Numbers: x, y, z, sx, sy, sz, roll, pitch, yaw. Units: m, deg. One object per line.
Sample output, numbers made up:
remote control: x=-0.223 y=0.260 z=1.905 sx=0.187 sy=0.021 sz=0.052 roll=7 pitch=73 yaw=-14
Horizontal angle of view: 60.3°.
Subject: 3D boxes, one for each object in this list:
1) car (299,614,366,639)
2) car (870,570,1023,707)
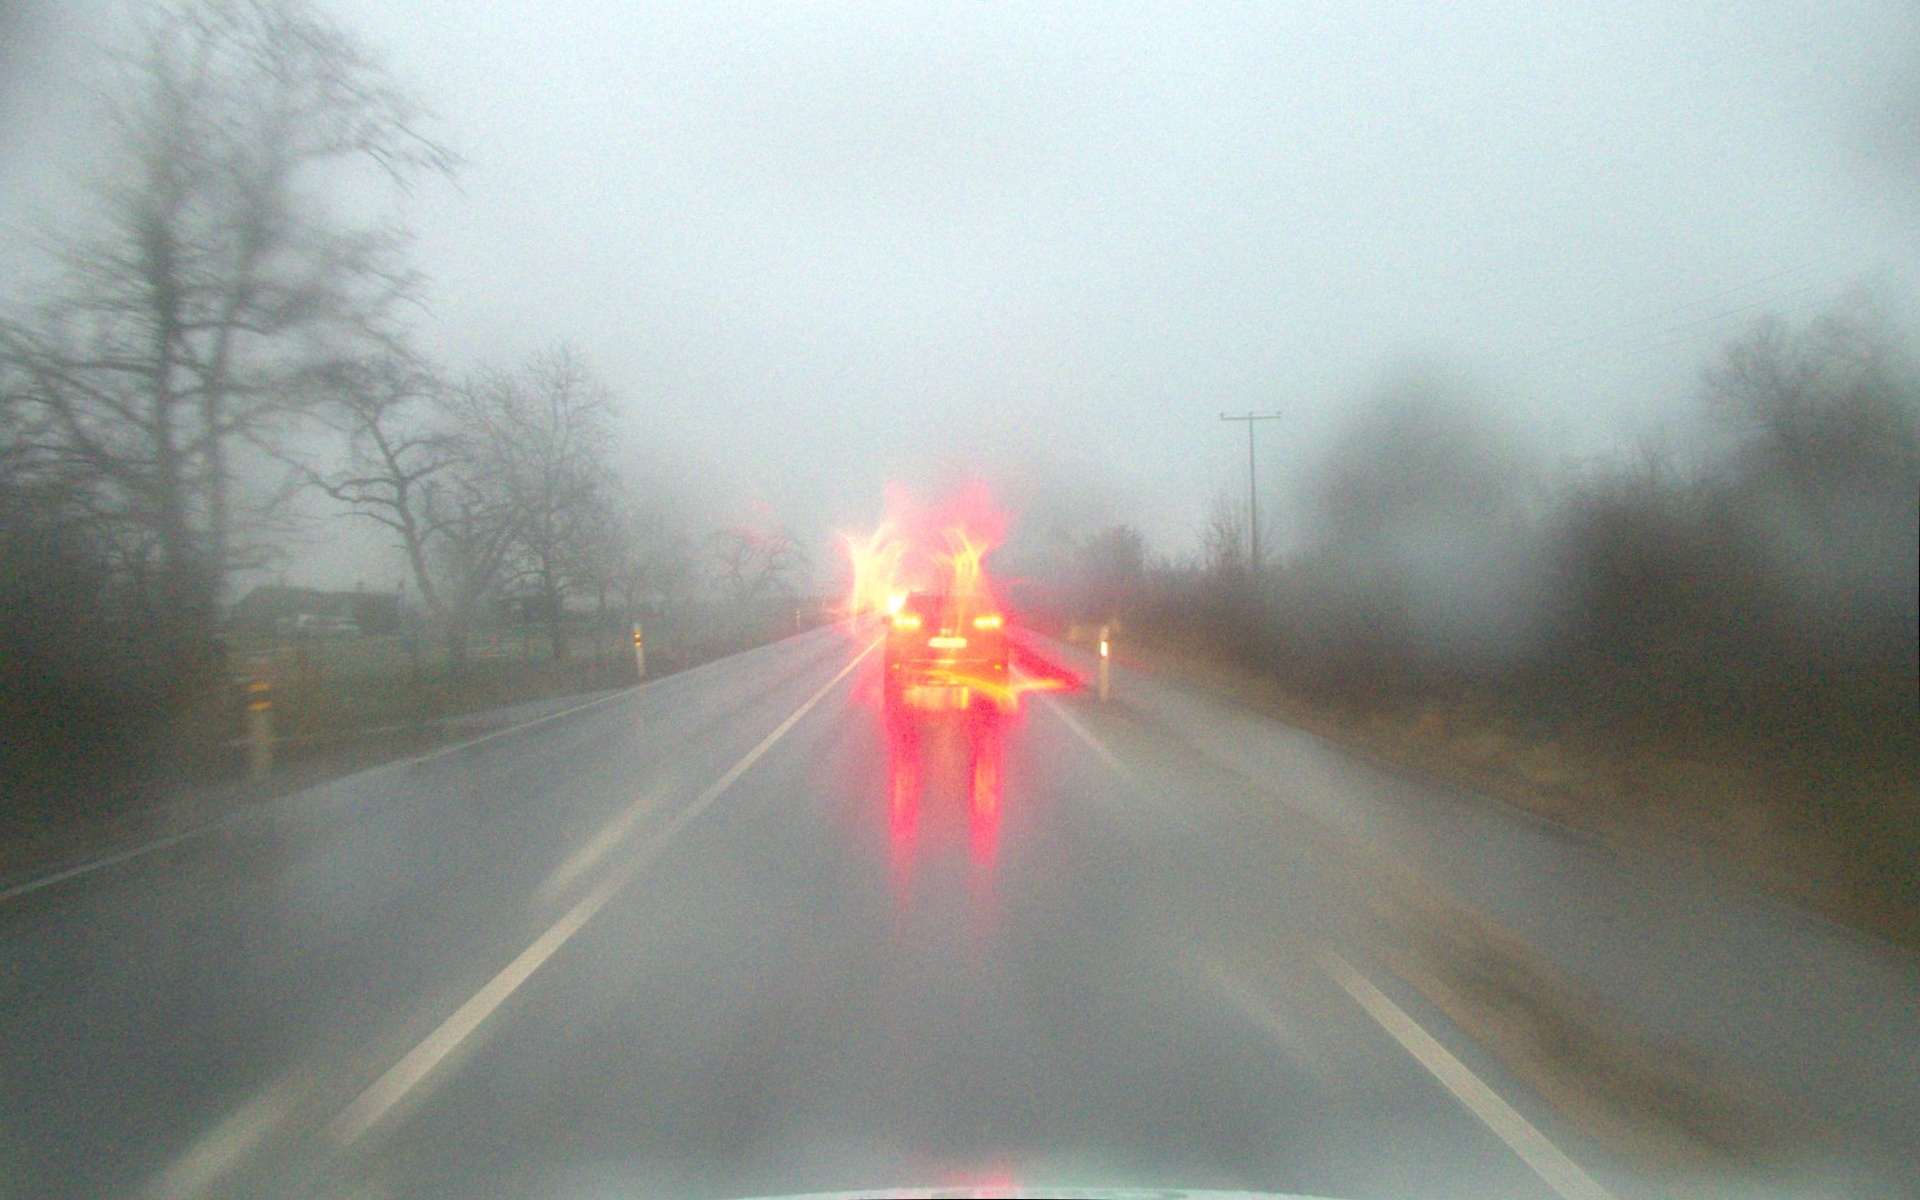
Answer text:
car: x=-35.903 y=1.535 z=94.727 sx=3.384 sy=1.366 sz=1.593 roll=1 pitch=0 yaw=-16
car: x=-0.224 y=0.518 z=25.003 sx=2.077 sy=1.852 sz=4.979 roll=0 pitch=0 yaw=-1
